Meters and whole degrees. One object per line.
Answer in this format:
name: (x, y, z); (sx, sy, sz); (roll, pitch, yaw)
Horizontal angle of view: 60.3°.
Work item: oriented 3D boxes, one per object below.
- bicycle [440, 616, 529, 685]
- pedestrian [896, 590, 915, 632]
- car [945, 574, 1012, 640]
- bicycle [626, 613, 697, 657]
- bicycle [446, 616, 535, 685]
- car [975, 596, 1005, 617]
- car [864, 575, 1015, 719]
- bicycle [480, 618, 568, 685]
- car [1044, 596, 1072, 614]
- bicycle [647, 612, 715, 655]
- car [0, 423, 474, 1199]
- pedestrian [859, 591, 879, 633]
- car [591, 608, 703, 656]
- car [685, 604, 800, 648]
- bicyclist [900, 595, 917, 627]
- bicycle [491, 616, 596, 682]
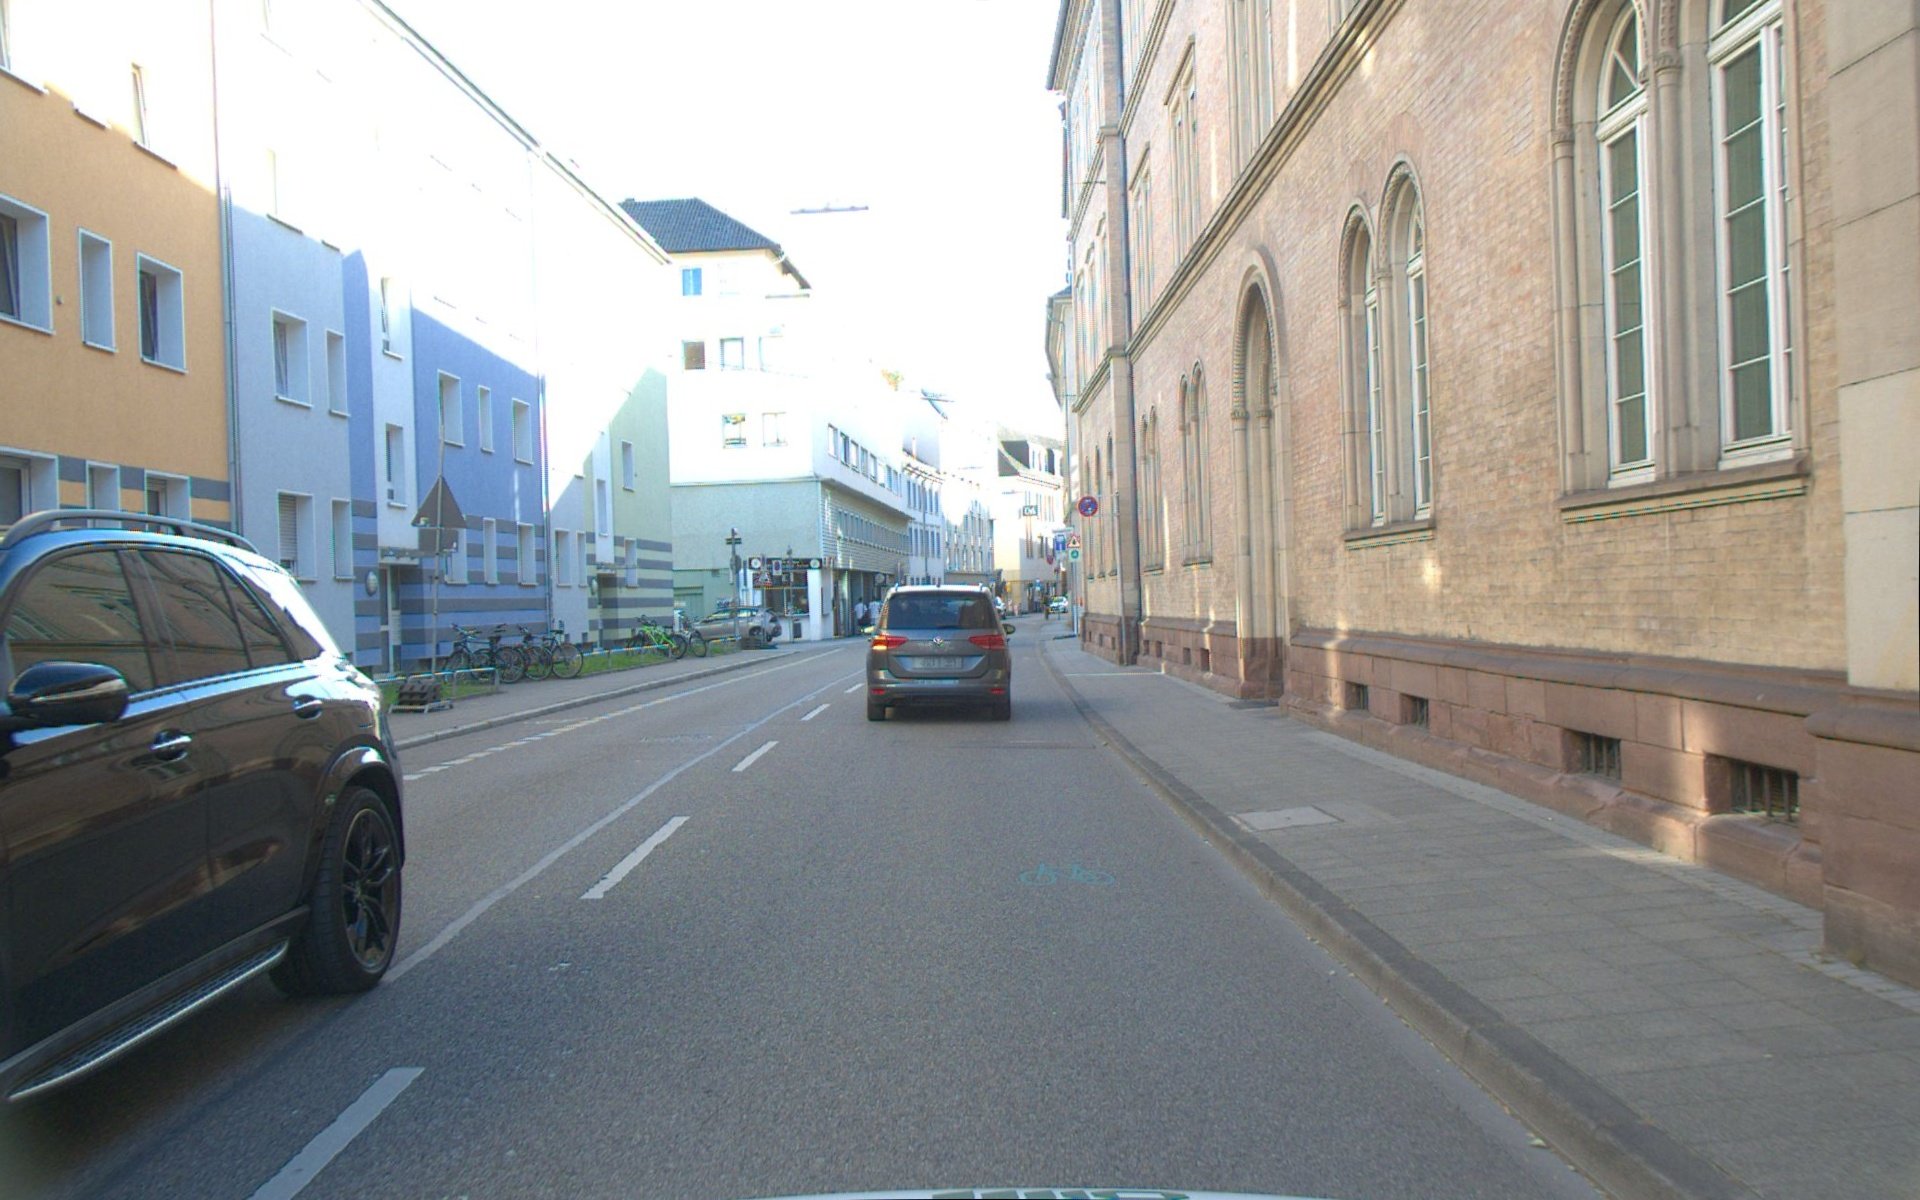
bicycle: (-9.080, 0.962, 31.606); (1.547, 1.263, 0.384); (-2, 0, -1)
pedestrian: (-2.475, 0.507, 75.059); (0.544, 1.861, 0.730); (-2, 0, 25)
car: (0.584, 0.207, 51.629); (1.953, 1.914, 4.000); (-2, 0, 0)
bicycle: (-8.351, 0.985, 46.240); (1.896, 1.200, 0.611); (1, -1, -14)
bicycle: (-9.079, 0.972, 32.024); (1.552, 1.263, 0.449); (-2, 0, -1)
car: (2.281, 0.484, 123.379); (1.826, 1.494, 3.836); (-2, 0, 7)
car: (-0.216, 0.541, 21.039); (1.726, 1.635, 4.000); (1, 0, 0)
bicycle: (-8.774, 1.034, 33.272); (1.606, 1.263, 0.467); (-2, 0, -1)
car: (9.129, 0.462, 153.430); (1.697, 1.493, 4.003); (-2, 0, 16)
bicycle: (-8.037, 0.958, 47.702); (1.892, 1.200, 0.612); (1, -1, -7)
car: (-3.167, 0.577, 5.017); (1.862, 1.866, 5.093); (-4, 0, -1)
pedestrian: (-4.044, 0.543, 73.723); (0.544, 1.861, 0.730); (-2, 0, 25)
car: (-10.941, 1.097, 57.913); (3.427, 1.468, 1.814); (-3, 0, 3)
car: (-8.358, 0.980, 63.707); (4.012, 1.468, 1.949); (-3, 0, 3)
bicyclist: (-2.632, 0.557, 84.678); (0.813, 1.589, 0.760); (-2, 0, 2)
bicycle: (-8.547, 0.999, 33.988); (1.967, 1.253, 0.623); (-2, 0, -1)
